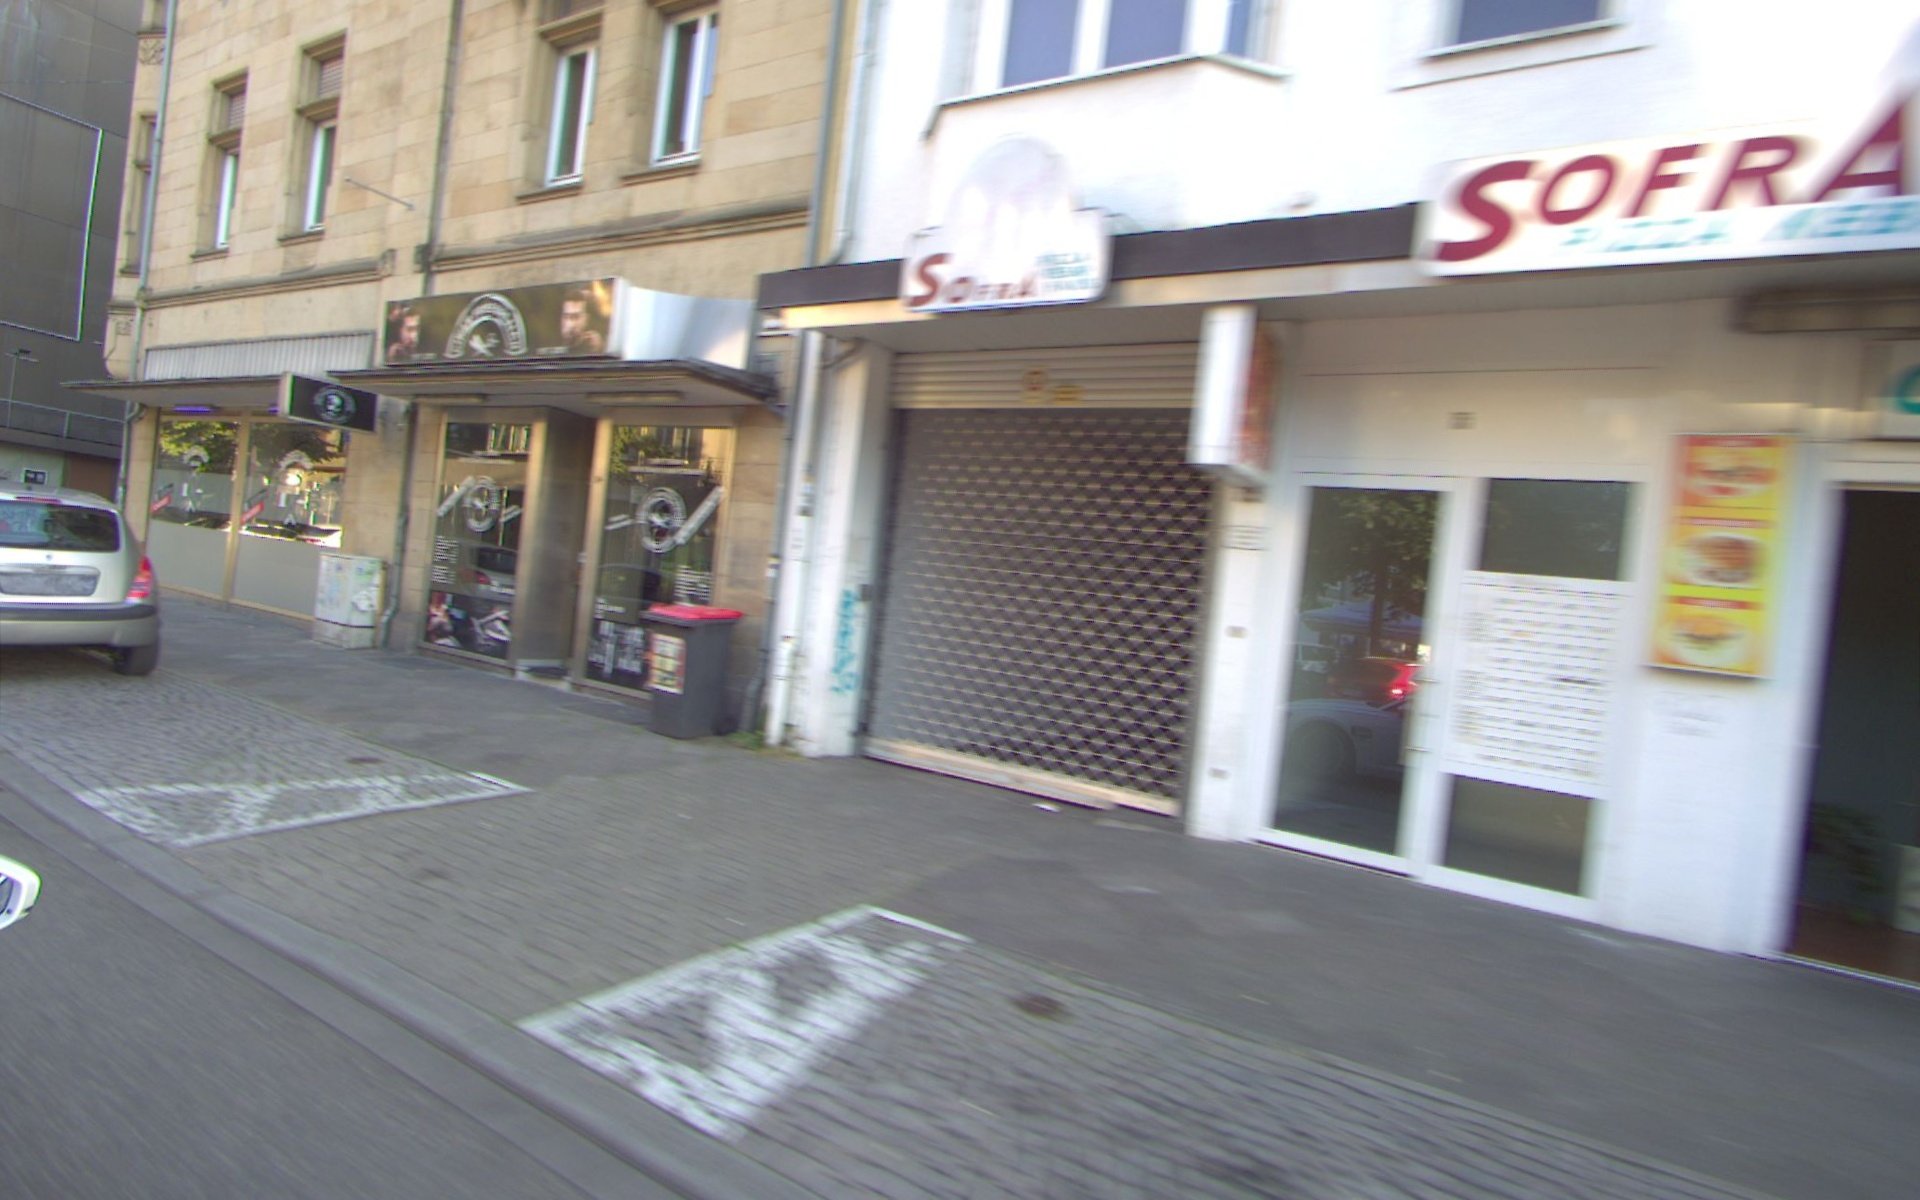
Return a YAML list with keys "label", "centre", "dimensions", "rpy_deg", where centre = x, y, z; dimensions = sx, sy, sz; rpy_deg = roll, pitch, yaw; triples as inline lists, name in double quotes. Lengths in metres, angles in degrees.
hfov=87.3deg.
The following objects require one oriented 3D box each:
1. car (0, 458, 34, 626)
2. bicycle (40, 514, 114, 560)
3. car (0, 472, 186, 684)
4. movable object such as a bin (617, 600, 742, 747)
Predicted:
- label: "car"
  centre: [-12.264, -0.877, 11.255]
  dimensions: [3.933, 1.791, 1.698]
  rpy_deg: [7, 0, 32]
- label: "bicycle"
  centre: [-24.773, -1.763, 28.237]
  dimensions: [1.742, 1.051, 0.415]
  rpy_deg: [8, 2, 6]
- label: "car"
  centre: [-8.604, -0.349, 8.836]
  dimensions: [3.936, 1.581, 1.680]
  rpy_deg: [7, 2, 35]
- label: "movable object such as a bin"
  centre: [-2.329, 0.609, 8.370]
  dimensions: [0.653, 1.097, 0.596]
  rpy_deg: [7, 0, 33]
